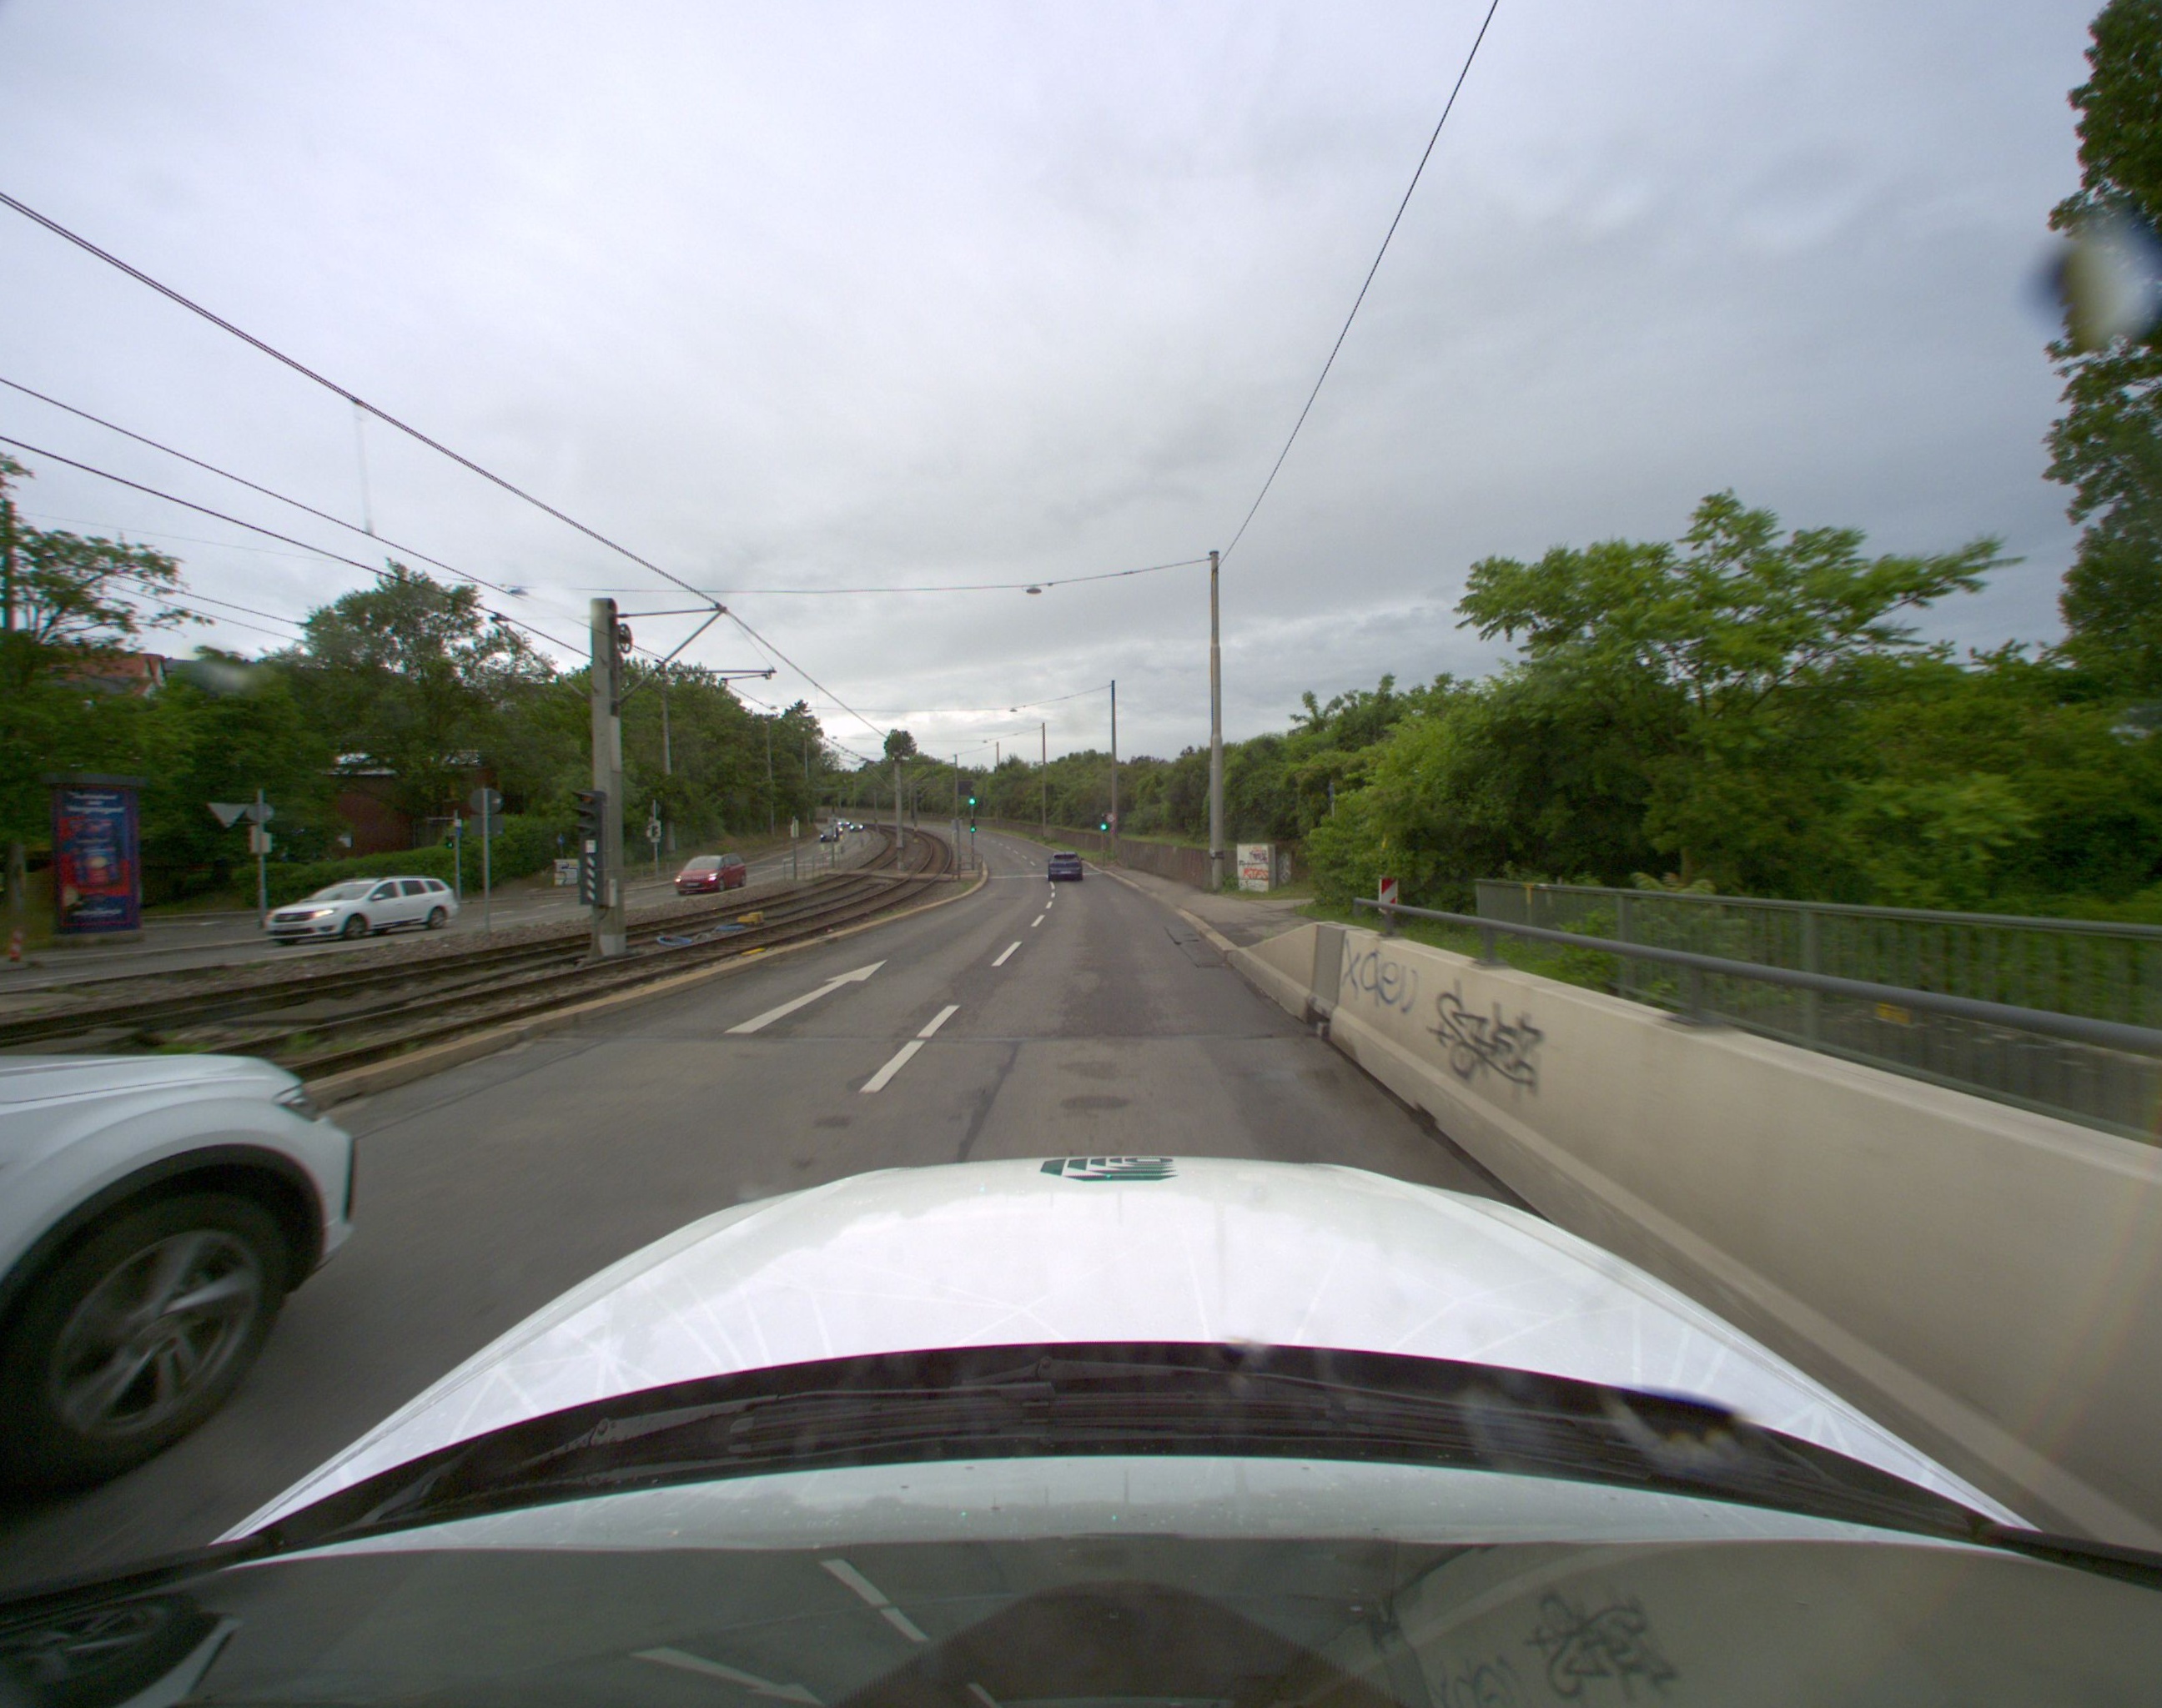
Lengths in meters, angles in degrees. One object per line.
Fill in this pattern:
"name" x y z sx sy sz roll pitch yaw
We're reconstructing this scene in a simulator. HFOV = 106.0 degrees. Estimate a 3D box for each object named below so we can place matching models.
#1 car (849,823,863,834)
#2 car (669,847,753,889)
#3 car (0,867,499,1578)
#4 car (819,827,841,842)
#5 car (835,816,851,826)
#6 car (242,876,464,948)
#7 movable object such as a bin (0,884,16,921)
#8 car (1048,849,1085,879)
"car" -32.148 -3.612 116.132 1.638 1.384 3.871 -4 4 -18
"car" -16.430 0.553 36.436 1.845 1.597 4.724 -3 2 -5
"car" -3.309 0.813 0.961 1.864 1.524 4.542 -1 0 2
"car" -27.813 -2.186 90.325 1.717 1.458 4.260 -3 3 -11
"car" -40.099 -5.608 137.225 1.870 1.438 4.818 -5 5 -24
"car" -18.753 1.407 21.332 1.817 1.515 4.525 -2 0 -2
"movable object such as a bin" -43.166 1.908 32.086 1.294 1.427 0.669 1 -2 -38
"car" -0.802 0.497 42.219 1.760 1.501 3.994 -1 0 -4
